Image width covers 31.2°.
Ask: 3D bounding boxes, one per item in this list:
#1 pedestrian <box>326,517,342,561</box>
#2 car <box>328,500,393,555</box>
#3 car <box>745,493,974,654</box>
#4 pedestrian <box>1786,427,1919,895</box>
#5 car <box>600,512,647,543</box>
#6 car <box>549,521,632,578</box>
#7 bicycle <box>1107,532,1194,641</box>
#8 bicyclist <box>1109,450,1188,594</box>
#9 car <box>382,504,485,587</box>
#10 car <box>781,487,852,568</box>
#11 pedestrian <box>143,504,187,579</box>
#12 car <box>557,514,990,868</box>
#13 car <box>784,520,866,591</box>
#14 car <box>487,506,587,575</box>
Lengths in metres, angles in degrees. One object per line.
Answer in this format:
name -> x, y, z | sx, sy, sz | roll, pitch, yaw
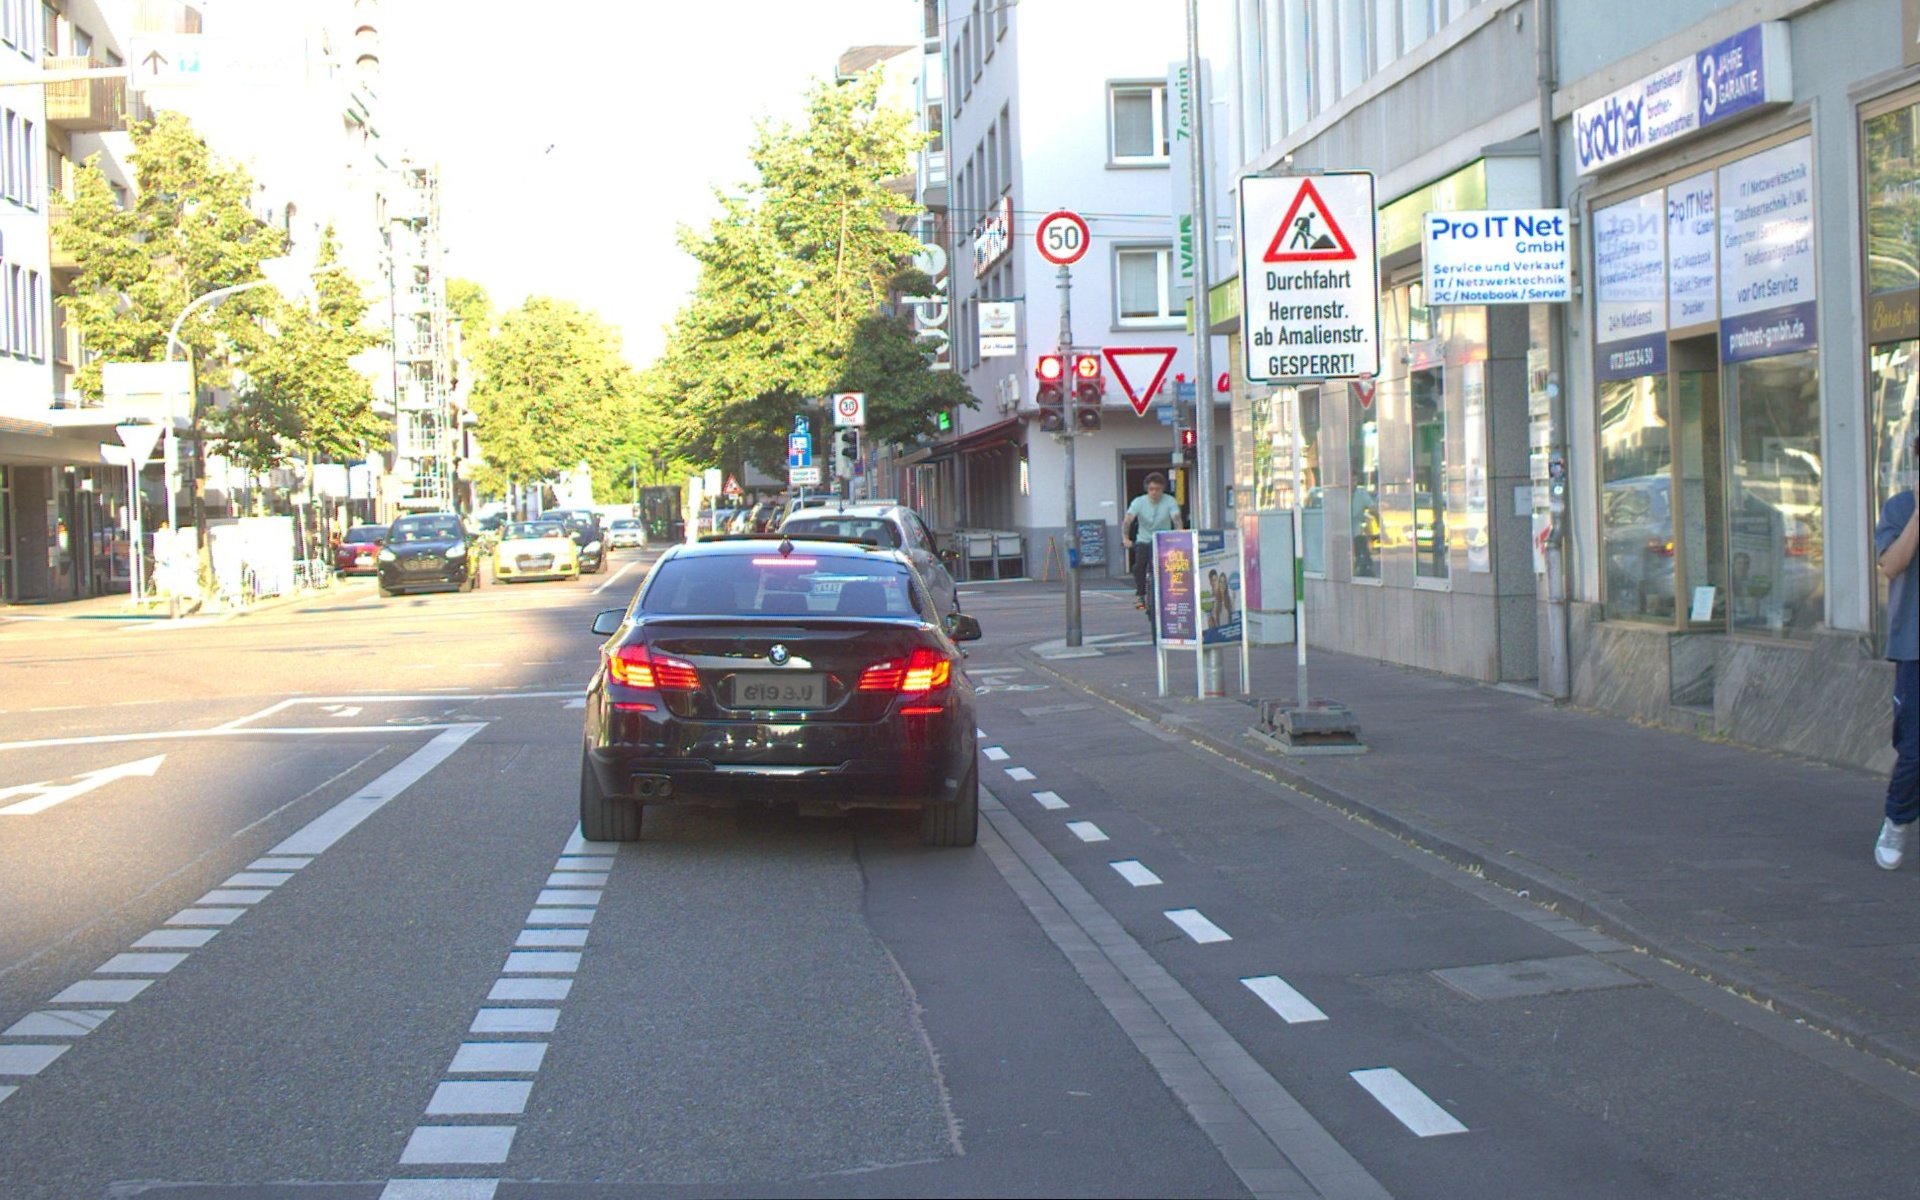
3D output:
pedestrian -> -20.670, -2.018, 113.468 | 0.444, 1.411, 0.525 | -1, 1, -6
car -> -16.939, -2.056, 97.207 | 1.733, 1.456, 4.001 | -2, 2, -9
car -> -1.001, -0.325, 36.548 | 1.833, 1.570, 4.100 | -1, 2, 7
pedestrian -> 3.574, 0.195, 12.523 | 0.823, 1.636, 0.872 | -2, 1, -5
car -> -14.731, -3.178, 150.330 | 1.733, 1.288, 4.001 | -2, 2, -9
car -> -8.930, -1.240, 82.953 | 1.733, 1.288, 4.001 | -2, 2, -9
bicycle -> 2.015, -0.159, 36.542 | 0.690, 1.103, 1.896 | -1, 2, -3
bicyclist -> 2.003, -0.829, 36.569 | 0.722, 1.502, 0.900 | -1, 1, -2
car -> -10.828, -1.141, 70.605 | 1.993, 1.612, 4.001 | -2, 2, -9
car -> -3.338, -1.674, 79.681 | 1.421, 1.848, 3.053 | 0, 1, -7
pedestrian -> -18.260, -1.347, 78.951 | 0.823, 1.670, 0.872 | -2, 1, -4
car -> -1.013, 0.353, 17.489 | 1.903, 1.535, 4.451 | 1, 2, -5
car -> -2.894, -0.962, 73.163 | 1.625, 1.466, 3.396 | 0, 1, -4
car -> -9.397, -1.333, 76.149 | 1.993, 1.437, 4.001 | -2, 2, -9
